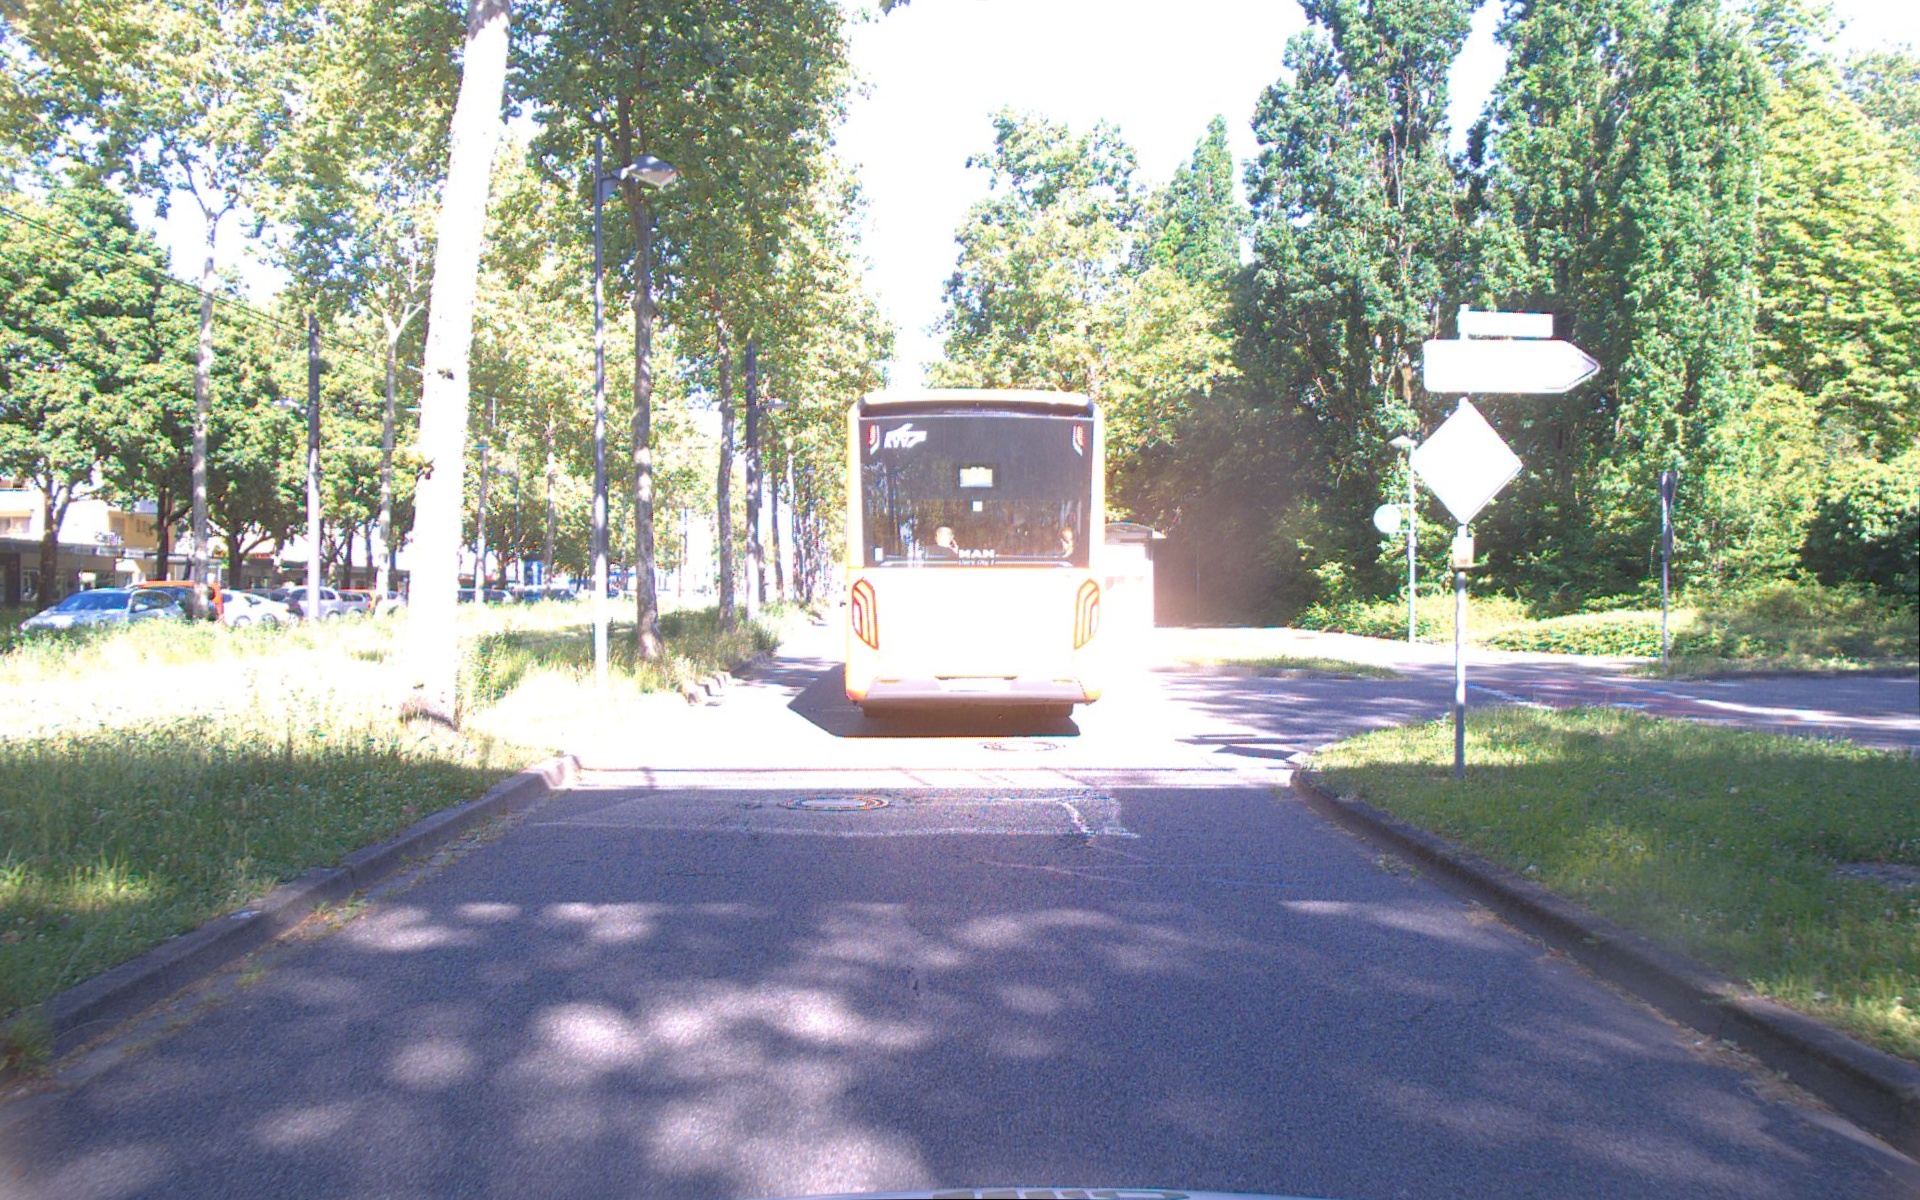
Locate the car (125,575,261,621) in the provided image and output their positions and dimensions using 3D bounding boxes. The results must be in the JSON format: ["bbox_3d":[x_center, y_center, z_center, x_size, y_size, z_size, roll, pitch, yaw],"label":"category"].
[{"bbox_3d":[-26.779,-0.093,57.848,1.768,1.536,3.976,0,0,42],"label":"car"}]

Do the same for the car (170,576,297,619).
[{"bbox_3d":[-27.003,-0.120,61.580,1.768,1.536,3.976,0,0,42],"label":"car"}]

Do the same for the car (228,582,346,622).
[{"bbox_3d":[-26.462,0.057,65.088,3.970,1.537,1.770,-1,0,-45],"label":"car"}]

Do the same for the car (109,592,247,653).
[{"bbox_3d":[-20.827,0.560,44.221,1.757,1.536,4.000,0,0,1],"label":"car"}]

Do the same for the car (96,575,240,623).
[{"bbox_3d":[-26.297,-0.061,54.997,1.768,1.536,3.976,0,0,42],"label":"car"}]

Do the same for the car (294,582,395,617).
[{"bbox_3d":[-28.078,-0.027,75.500,1.768,1.536,3.976,0,0,42],"label":"car"}]

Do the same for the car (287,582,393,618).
[{"bbox_3d":[-27.104,-0.007,72.359,1.768,1.536,3.976,0,0,42],"label":"car"}]

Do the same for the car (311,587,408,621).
[{"bbox_3d":[-28.468,0.178,78.517,1.768,1.536,3.976,0,0,42],"label":"car"}]

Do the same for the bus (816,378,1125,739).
[{"bbox_3d":[-0.084,-0.425,21.387,2.841,3.324,12.213,0,0,-2],"label":"bus"}]

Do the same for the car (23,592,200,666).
[{"bbox_3d":[-18.921,0.591,37.116,1.758,1.536,4.672,0,0,-3],"label":"car"}]

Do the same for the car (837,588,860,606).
[{"bbox_3d":[-11.038,-0.298,164.432,1.946,1.672,4.134,2,1,0],"label":"car"}]

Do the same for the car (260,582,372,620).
[{"bbox_3d":[-26.738,0.026,68.757,1.768,1.536,3.976,0,0,42],"label":"car"}]

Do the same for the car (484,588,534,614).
[{"bbox_3d":[-26.689,0.050,97.973,1.757,1.536,4.001,0,0,2],"label":"car"}]
